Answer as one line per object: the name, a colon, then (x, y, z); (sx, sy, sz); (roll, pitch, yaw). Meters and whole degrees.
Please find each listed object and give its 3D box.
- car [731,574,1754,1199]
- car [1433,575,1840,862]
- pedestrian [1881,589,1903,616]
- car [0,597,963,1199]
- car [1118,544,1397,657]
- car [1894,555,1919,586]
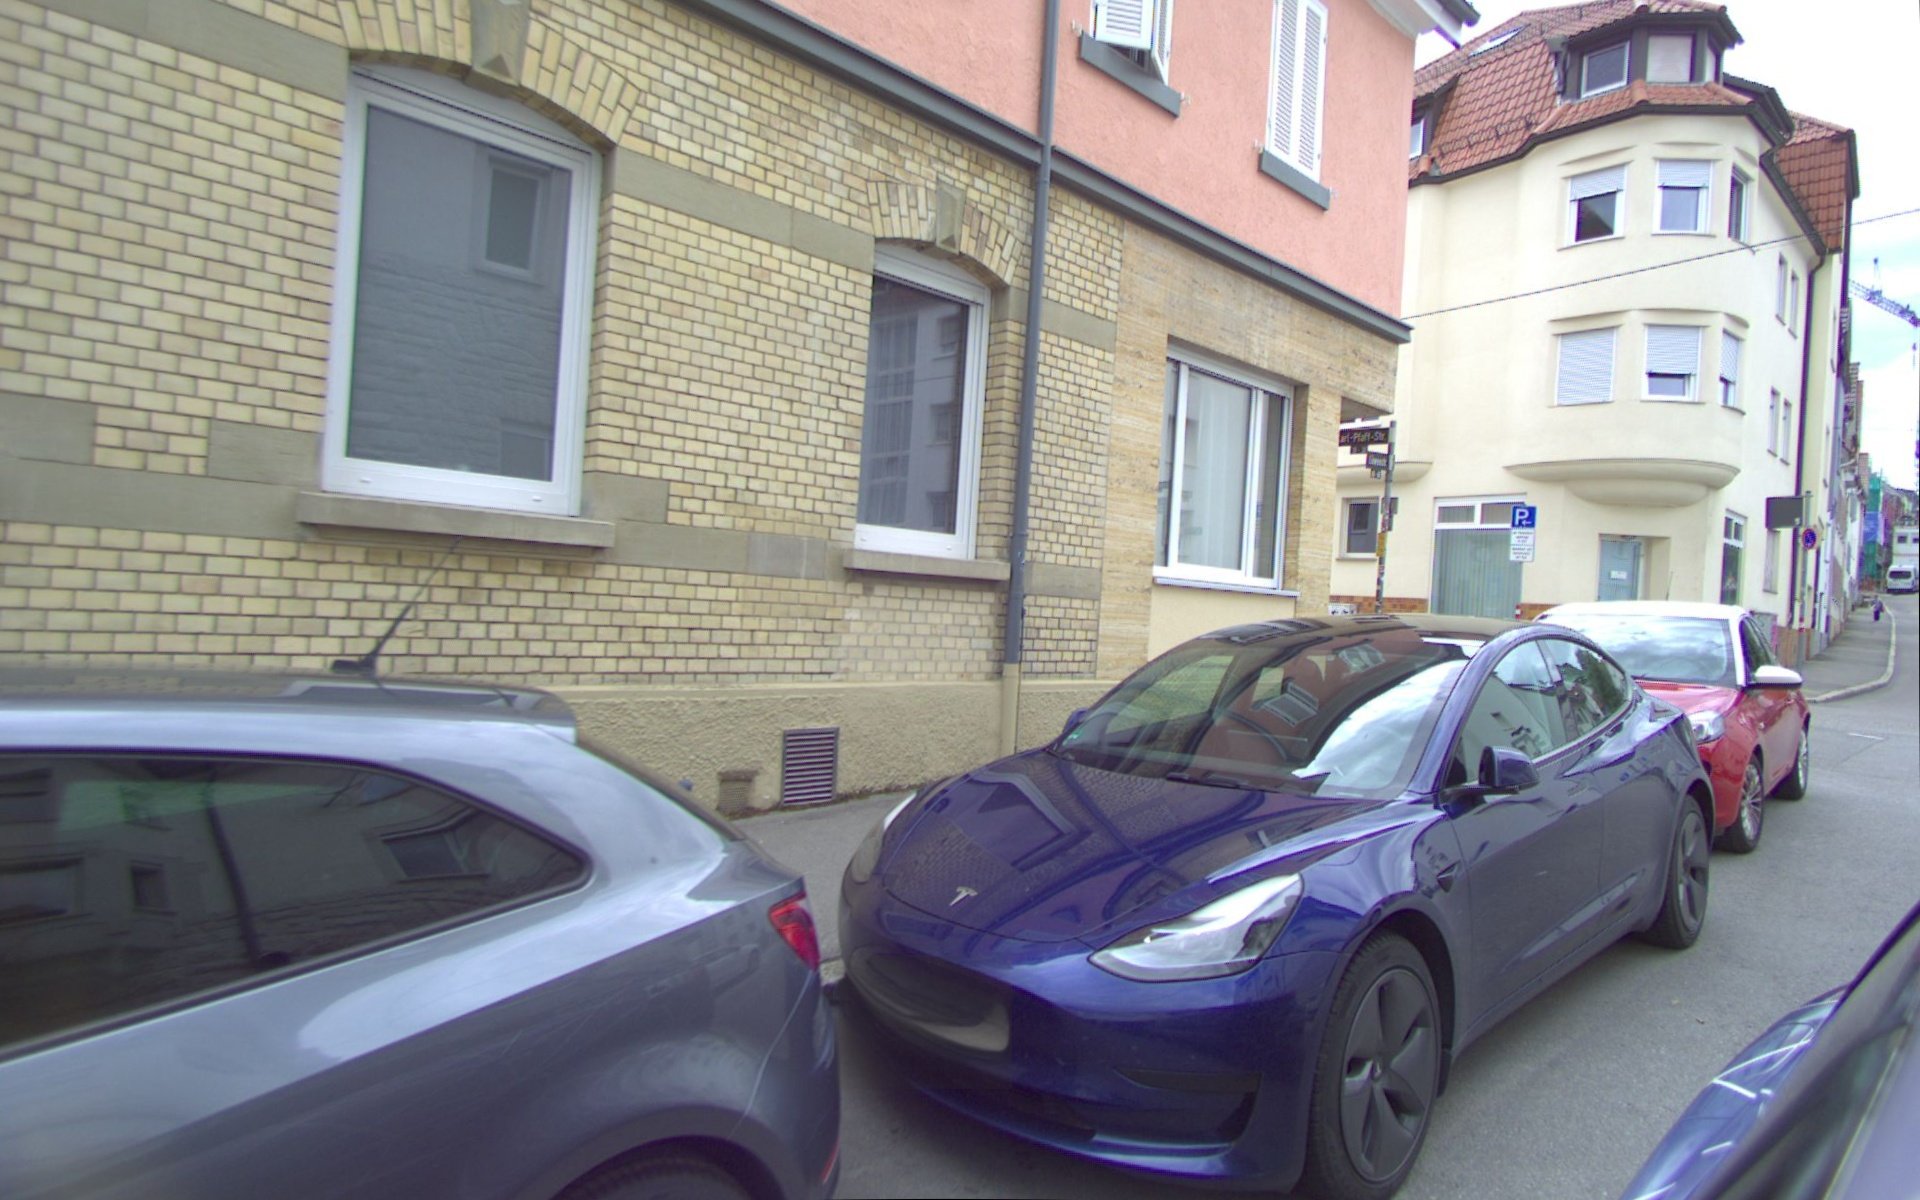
car: (1.453, 0.653, 3.955); (4.217, 1.421, 1.855); (0, 1, -41)
car: (4.987, 0.622, 7.276); (3.565, 1.497, 1.670); (0, 2, -44)
pedestrian: (53.184, 0.117, 57.738); (0.750, 1.507, 0.560); (3, 1, 30)
car: (-2.029, 0.718, 1.304); (3.901, 1.421, 1.854); (0, 1, -44)
car: (4.687, -0.075, 16.450); (1.790, 1.562, 4.026); (1, 3, -38)
car: (88.711, -2.744, 94.396); (2.188, 2.677, 5.738); (5, 5, 42)
